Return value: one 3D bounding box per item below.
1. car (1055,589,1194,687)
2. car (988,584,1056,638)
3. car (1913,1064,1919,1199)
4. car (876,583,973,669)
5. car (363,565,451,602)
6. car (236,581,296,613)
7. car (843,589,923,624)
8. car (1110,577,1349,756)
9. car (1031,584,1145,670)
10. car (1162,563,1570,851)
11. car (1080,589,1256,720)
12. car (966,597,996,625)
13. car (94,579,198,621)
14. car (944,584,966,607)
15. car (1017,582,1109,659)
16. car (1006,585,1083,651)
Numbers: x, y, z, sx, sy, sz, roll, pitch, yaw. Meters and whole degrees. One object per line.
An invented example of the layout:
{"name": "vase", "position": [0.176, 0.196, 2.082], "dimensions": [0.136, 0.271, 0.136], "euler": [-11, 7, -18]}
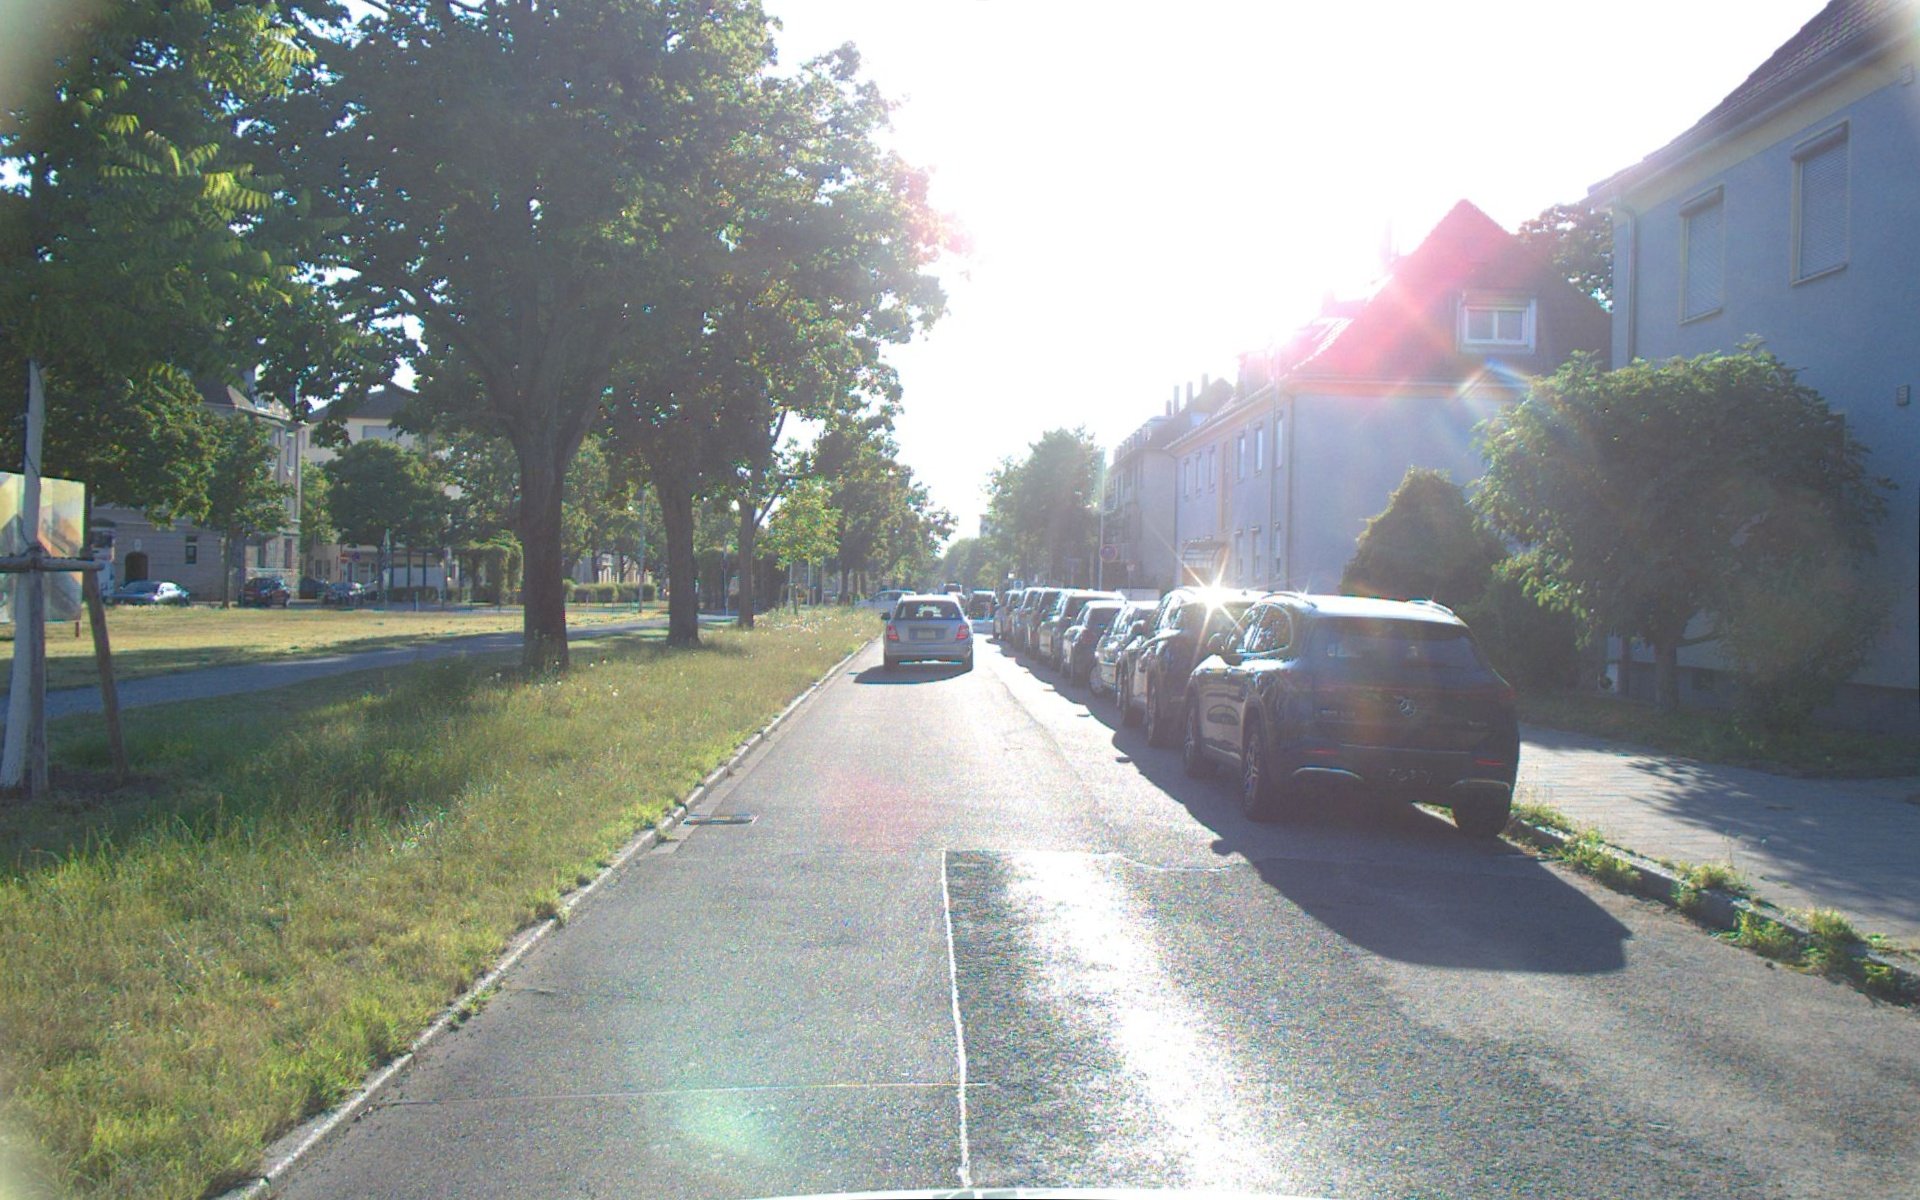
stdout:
{"name": "car", "position": [2.792, 0.615, 29.005], "dimensions": [1.953, 1.488, 4.561], "euler": [3, 0, 0]}
{"name": "car", "position": [2.038, 0.354, 55.605], "dimensions": [1.683, 1.667, 4.560], "euler": [3, 0, -5]}
{"name": "car", "position": [3.110, 0.642, 1.189], "dimensions": [1.796, 1.762, 5.030], "euler": [4, -1, -1]}
{"name": "car", "position": [-0.677, 0.465, 32.663], "dimensions": [1.786, 1.594, 4.000], "euler": [0, 0, -1]}
{"name": "car", "position": [-43.361, -1.300, 129.804], "dimensions": [6.232, 2.767, 1.981], "euler": [1, 0, -32]}
{"name": "car", "position": [-40.231, -0.140, 96.006], "dimensions": [1.610, 1.737, 4.293], "euler": [-2, -1, 0]}
{"name": "car", "position": [-3.894, 0.345, 84.112], "dimensions": [3.812, 1.624, 2.001], "euler": [-2, -1, 3]}
{"name": "car", "position": [2.886, 0.645, 18.755], "dimensions": [1.816, 1.686, 4.819], "euler": [2, 0, -1]}
{"name": "car", "position": [2.563, 0.520, 34.177], "dimensions": [1.690, 1.588, 4.413], "euler": [2, 0, -4]}
{"name": "car", "position": [2.937, 0.692, 13.092], "dimensions": [1.894, 1.750, 4.620], "euler": [4, 0, -1]}
{"name": "car", "position": [2.913, 0.745, 24.062], "dimensions": [1.694, 1.575, 4.205], "euler": [6, -1, -3]}
{"name": "car", "position": [1.265, 0.688, 99.443], "dimensions": [1.686, 1.625, 3.999], "euler": [1, -1, -1]}
{"name": "car", "position": [-34.542, 0.036, 70.362], "dimensions": [1.943, 1.665, 4.828], "euler": [-2, -1, 1]}
{"name": "car", "position": [-0.481, -0.417, 157.674], "dimensions": [1.948, 2.059, 3.999], "euler": [1, 0, -1]}
{"name": "car", "position": [2.425, 0.500, 39.983], "dimensions": [1.730, 1.663, 4.763], "euler": [2, -1, -2]}
{"name": "car", "position": [2.262, 0.480, 45.416], "dimensions": [1.741, 1.672, 4.755], "euler": [1, 0, -2]}
